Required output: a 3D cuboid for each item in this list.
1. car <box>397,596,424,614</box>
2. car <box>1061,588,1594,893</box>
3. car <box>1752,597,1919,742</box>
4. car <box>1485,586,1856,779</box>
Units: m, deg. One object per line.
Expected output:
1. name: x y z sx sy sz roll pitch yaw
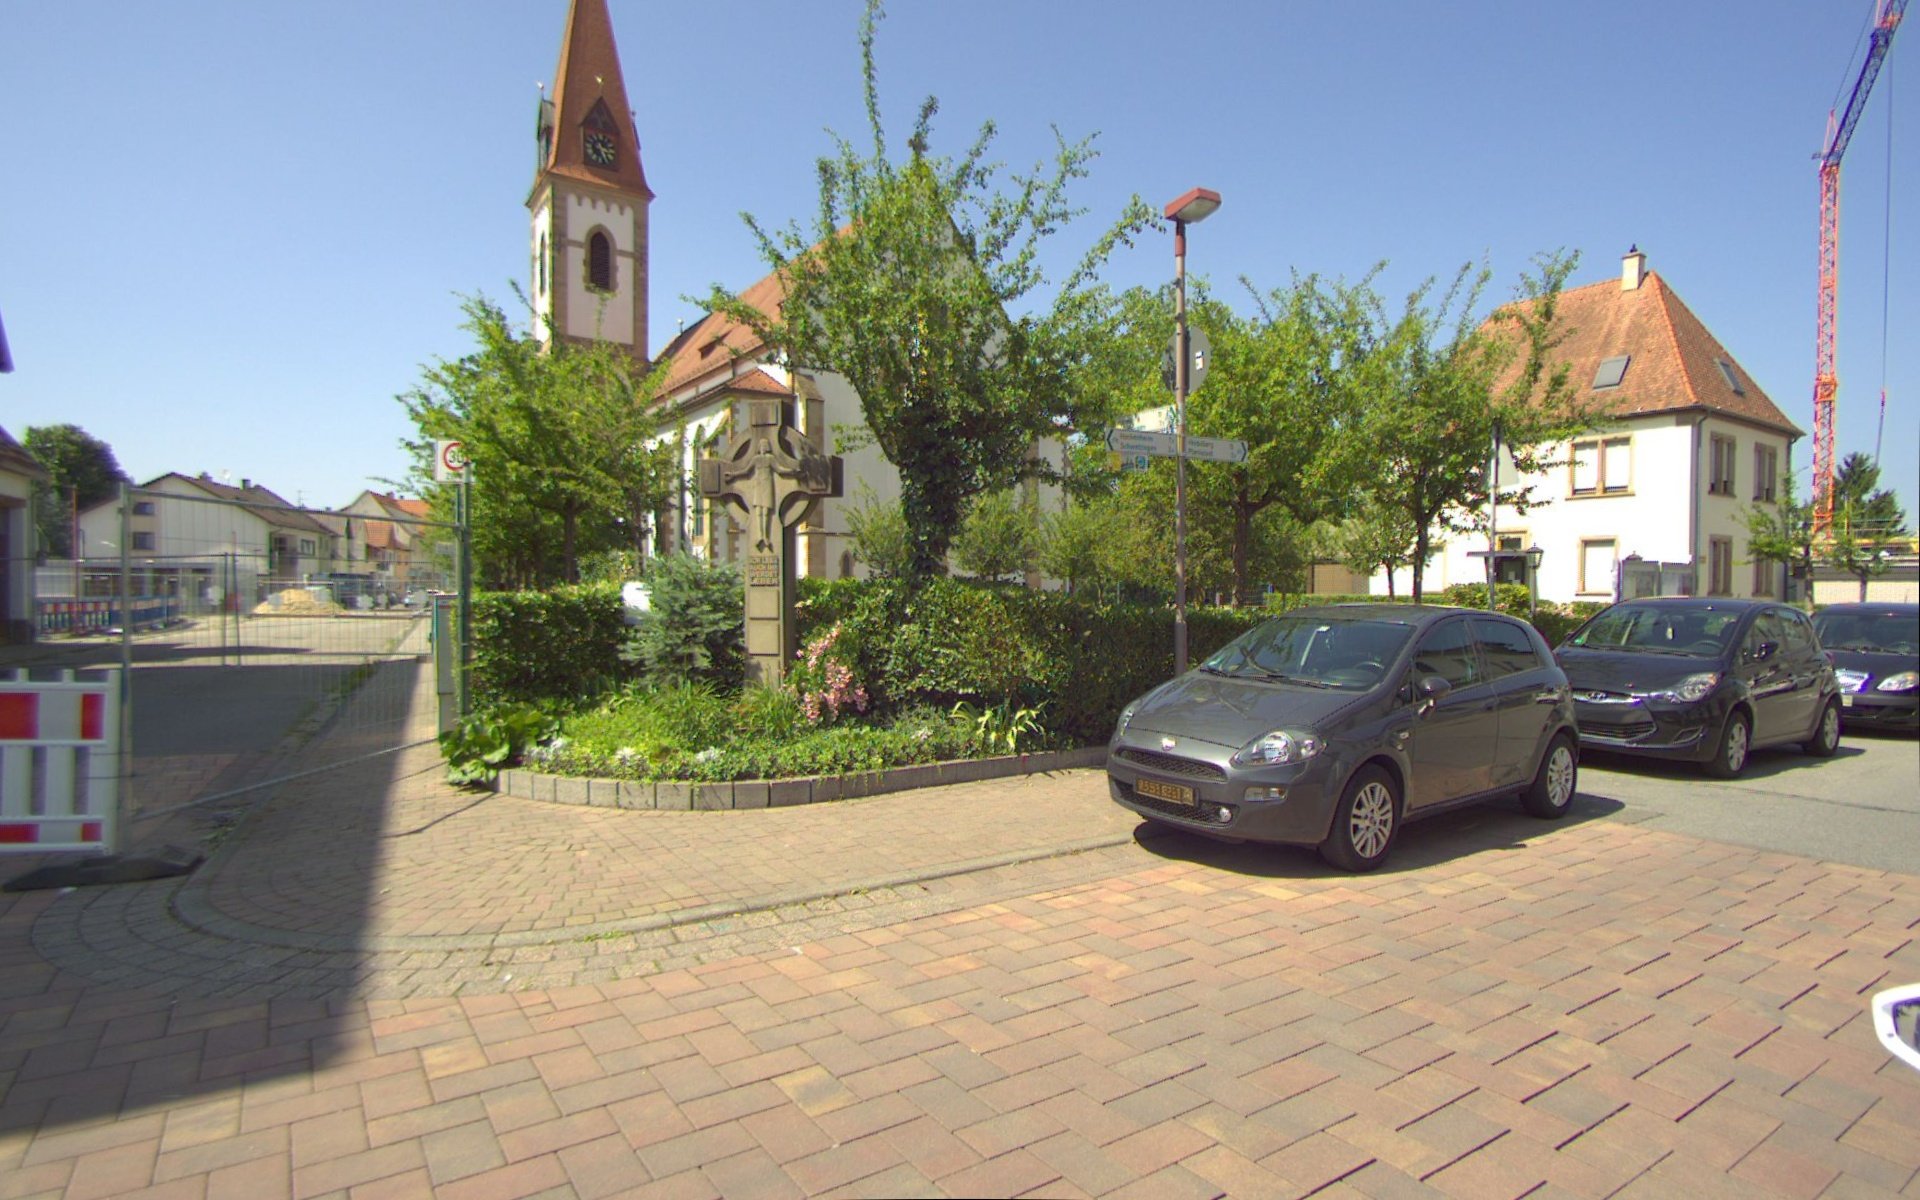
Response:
1. car: -46.872 0.456 85.698 1.794 1.483 3.910 0 0 -32
2. car: 2.650 0.700 6.870 3.823 1.517 1.689 0 1 -38
3. car: 12.104 0.793 13.263 3.731 1.650 1.626 0 1 -36
4. car: 7.354 0.693 10.307 3.982 1.626 1.804 0 1 -34
